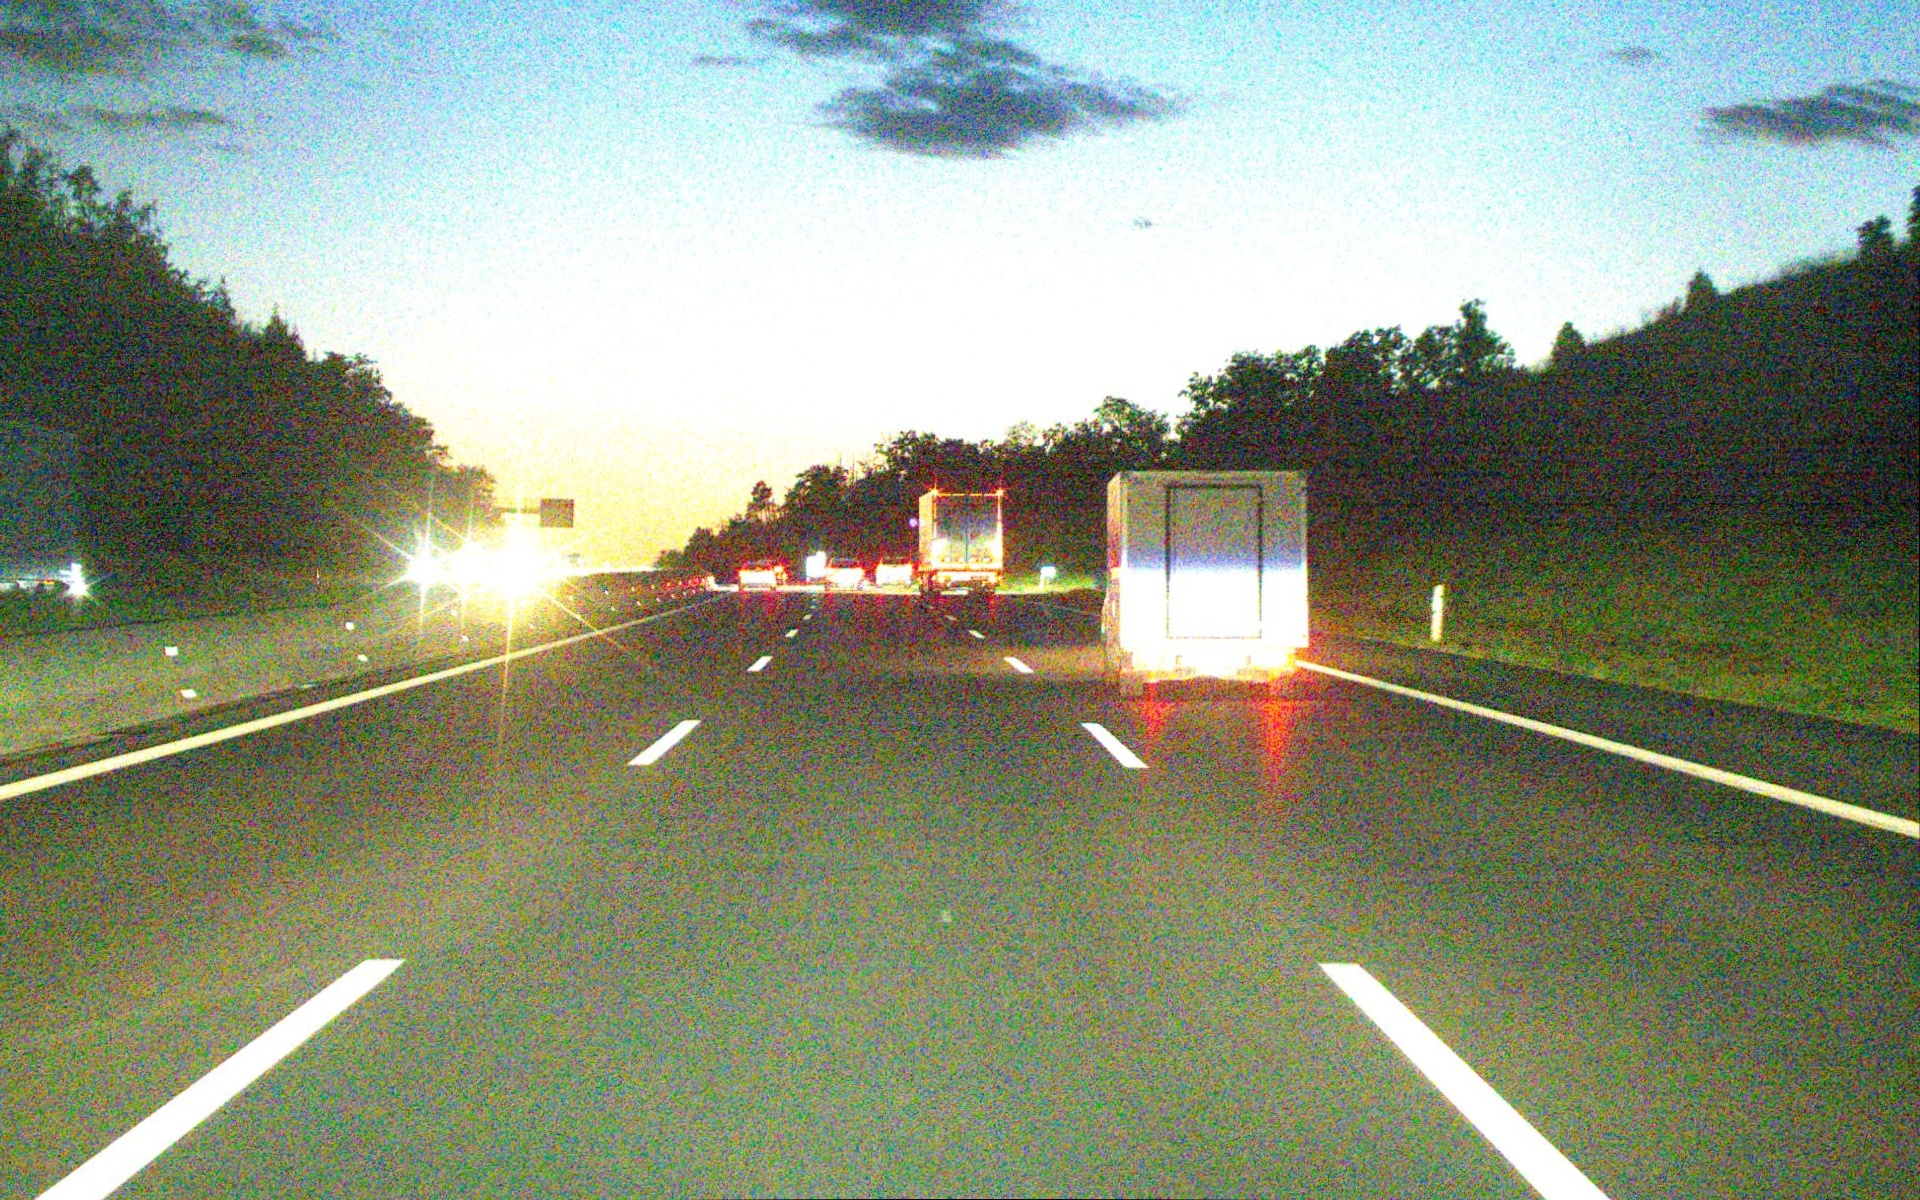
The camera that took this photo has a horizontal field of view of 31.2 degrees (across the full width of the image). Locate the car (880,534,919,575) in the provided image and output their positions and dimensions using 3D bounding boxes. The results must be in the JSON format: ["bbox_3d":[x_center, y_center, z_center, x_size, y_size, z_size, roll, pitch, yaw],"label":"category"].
[{"bbox_3d":[-3.371,-2.523,191.463,1.993,2.110,4.000,0,-1,-3],"label":"car"}]

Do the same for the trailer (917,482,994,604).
[{"bbox_3d":[-0.242,-2.084,135.179,2.829,4.242,17.048,0,-1,0],"label":"trailer"}]

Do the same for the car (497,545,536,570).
[{"bbox_3d":[-29.789,-2.879,231.122,2.244,1.663,4.888,0,1,-3],"label":"car"}]

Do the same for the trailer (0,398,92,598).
[{"bbox_3d":[-20.526,-2.045,69.339,2.853,3.966,13.887,0,1,-1],"label":"trailer"}]

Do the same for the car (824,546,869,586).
[{"bbox_3d":[-5.440,-1.626,164.811,1.993,1.788,4.000,0,-1,0],"label":"car"}]

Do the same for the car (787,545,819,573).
[{"bbox_3d":[-10.704,-2.796,234.333,1.993,1.810,4.000,0,-1,0],"label":"car"}]

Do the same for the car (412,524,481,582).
[{"bbox_3d":[-18.990,-1.760,127.445,2.244,2.094,5.716,0,1,-6],"label":"car"}]

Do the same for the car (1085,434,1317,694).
[{"bbox_3d":[2.558,-0.396,37.837,2.032,2.638,5.725,0,1,-1],"label":"car"}]

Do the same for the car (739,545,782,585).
[{"bbox_3d":[-9.656,-1.676,166.257,1.993,1.788,4.000,0,-1,-5],"label":"car"}]

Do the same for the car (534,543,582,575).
[{"bbox_3d":[-21.334,-2.170,182.518,2.244,1.663,4.890,0,1,-3],"label":"car"}]
